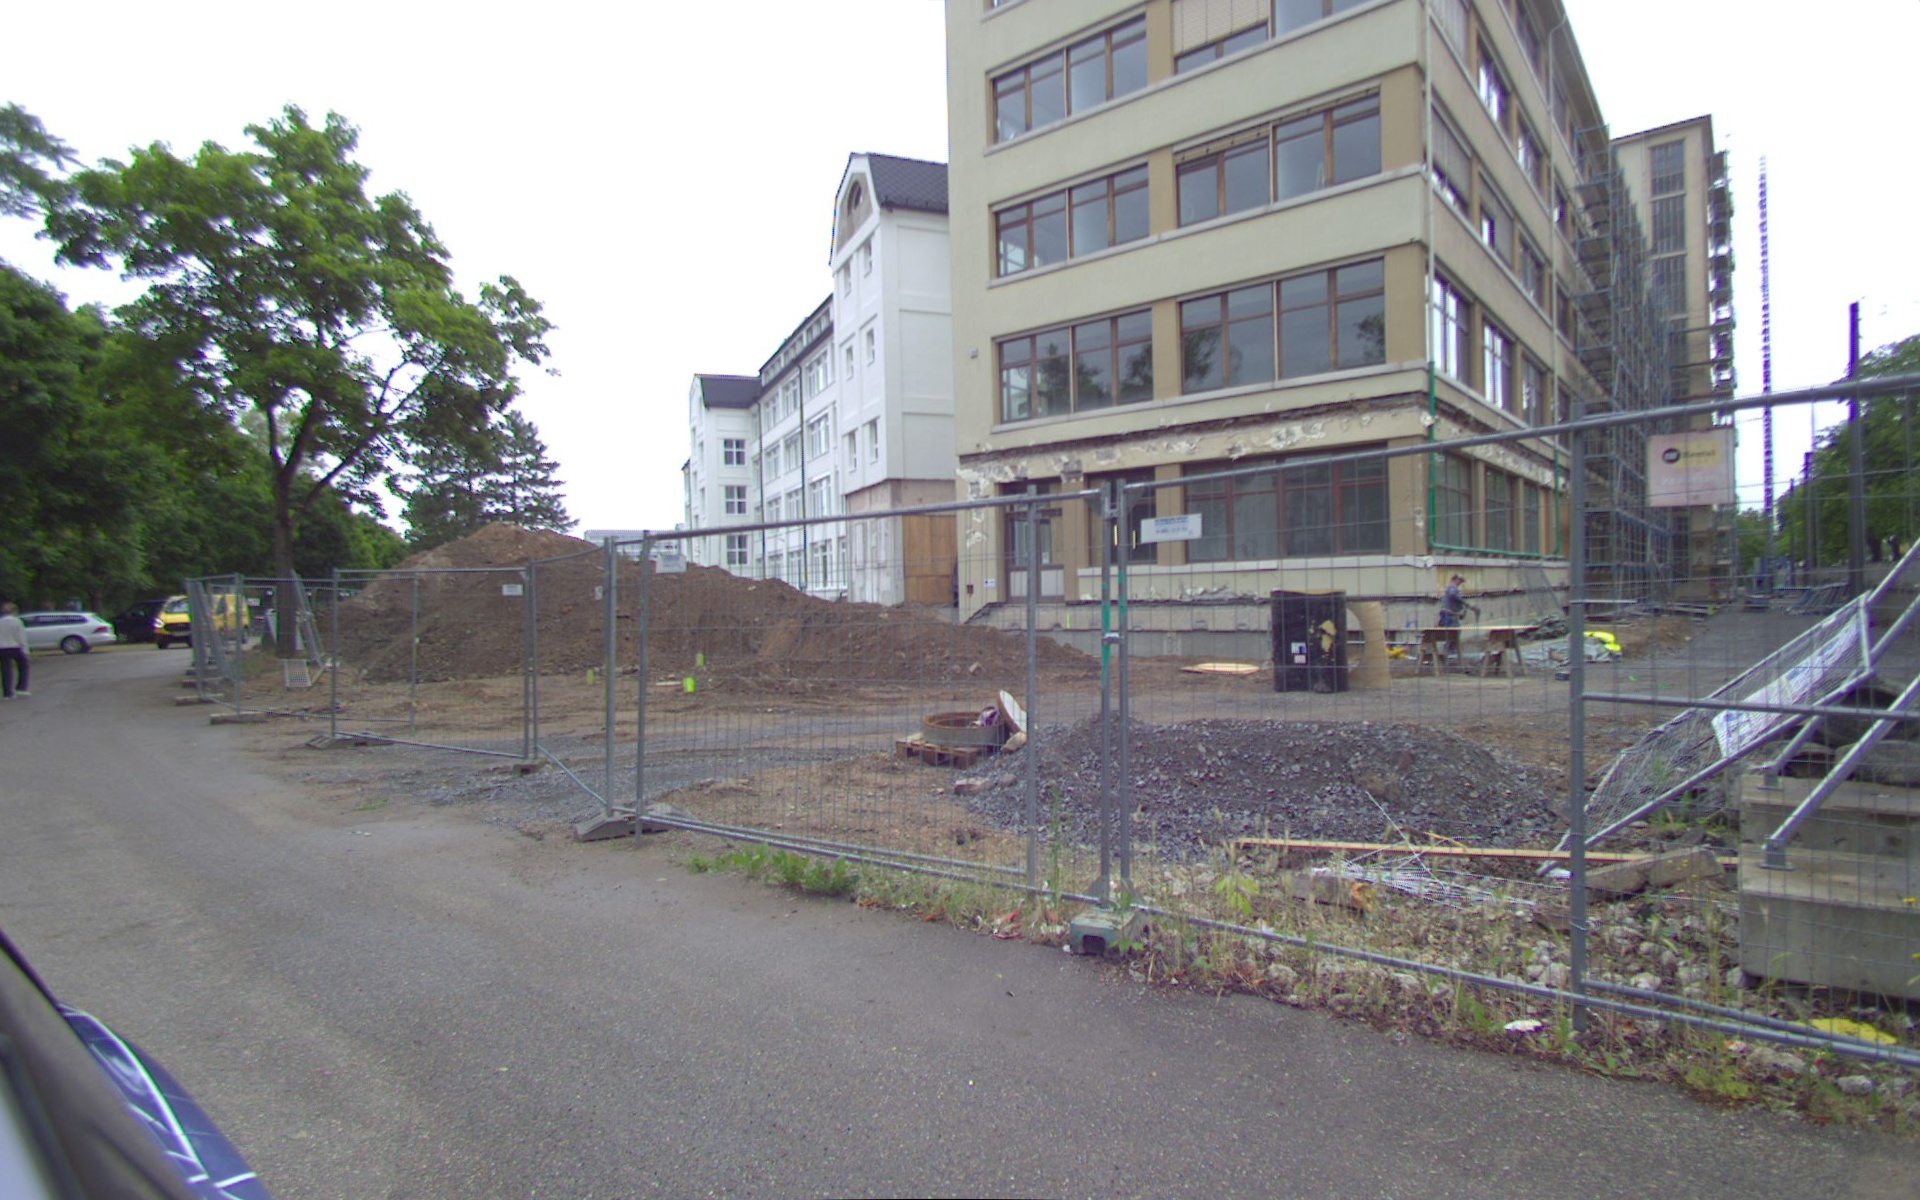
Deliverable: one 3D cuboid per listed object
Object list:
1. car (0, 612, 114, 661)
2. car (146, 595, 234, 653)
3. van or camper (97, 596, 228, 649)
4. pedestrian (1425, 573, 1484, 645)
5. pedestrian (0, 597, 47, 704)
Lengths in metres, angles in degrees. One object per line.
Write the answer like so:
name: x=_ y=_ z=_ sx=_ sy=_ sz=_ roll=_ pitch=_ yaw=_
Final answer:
car: x=-32.376 y=1.282 z=35.614 sx=3.822 sy=1.586 sz=1.756 roll=-1 pitch=0 yaw=-35
car: x=-28.990 y=0.890 z=38.234 sx=2.089 sy=2.029 sz=4.012 roll=-1 pitch=0 yaw=-30
van or camper: x=-37.267 y=1.021 z=47.423 sx=4.423 sy=2.275 sz=2.007 roll=-1 pitch=0 yaw=-23
pedestrian: x=10.240 y=0.191 z=21.005 sx=0.975 sy=1.448 sz=0.925 roll=-1 pitch=0 yaw=19
pedestrian: x=-16.437 y=0.855 z=17.466 sx=0.657 sy=1.795 sz=0.747 roll=-1 pitch=0 yaw=16
